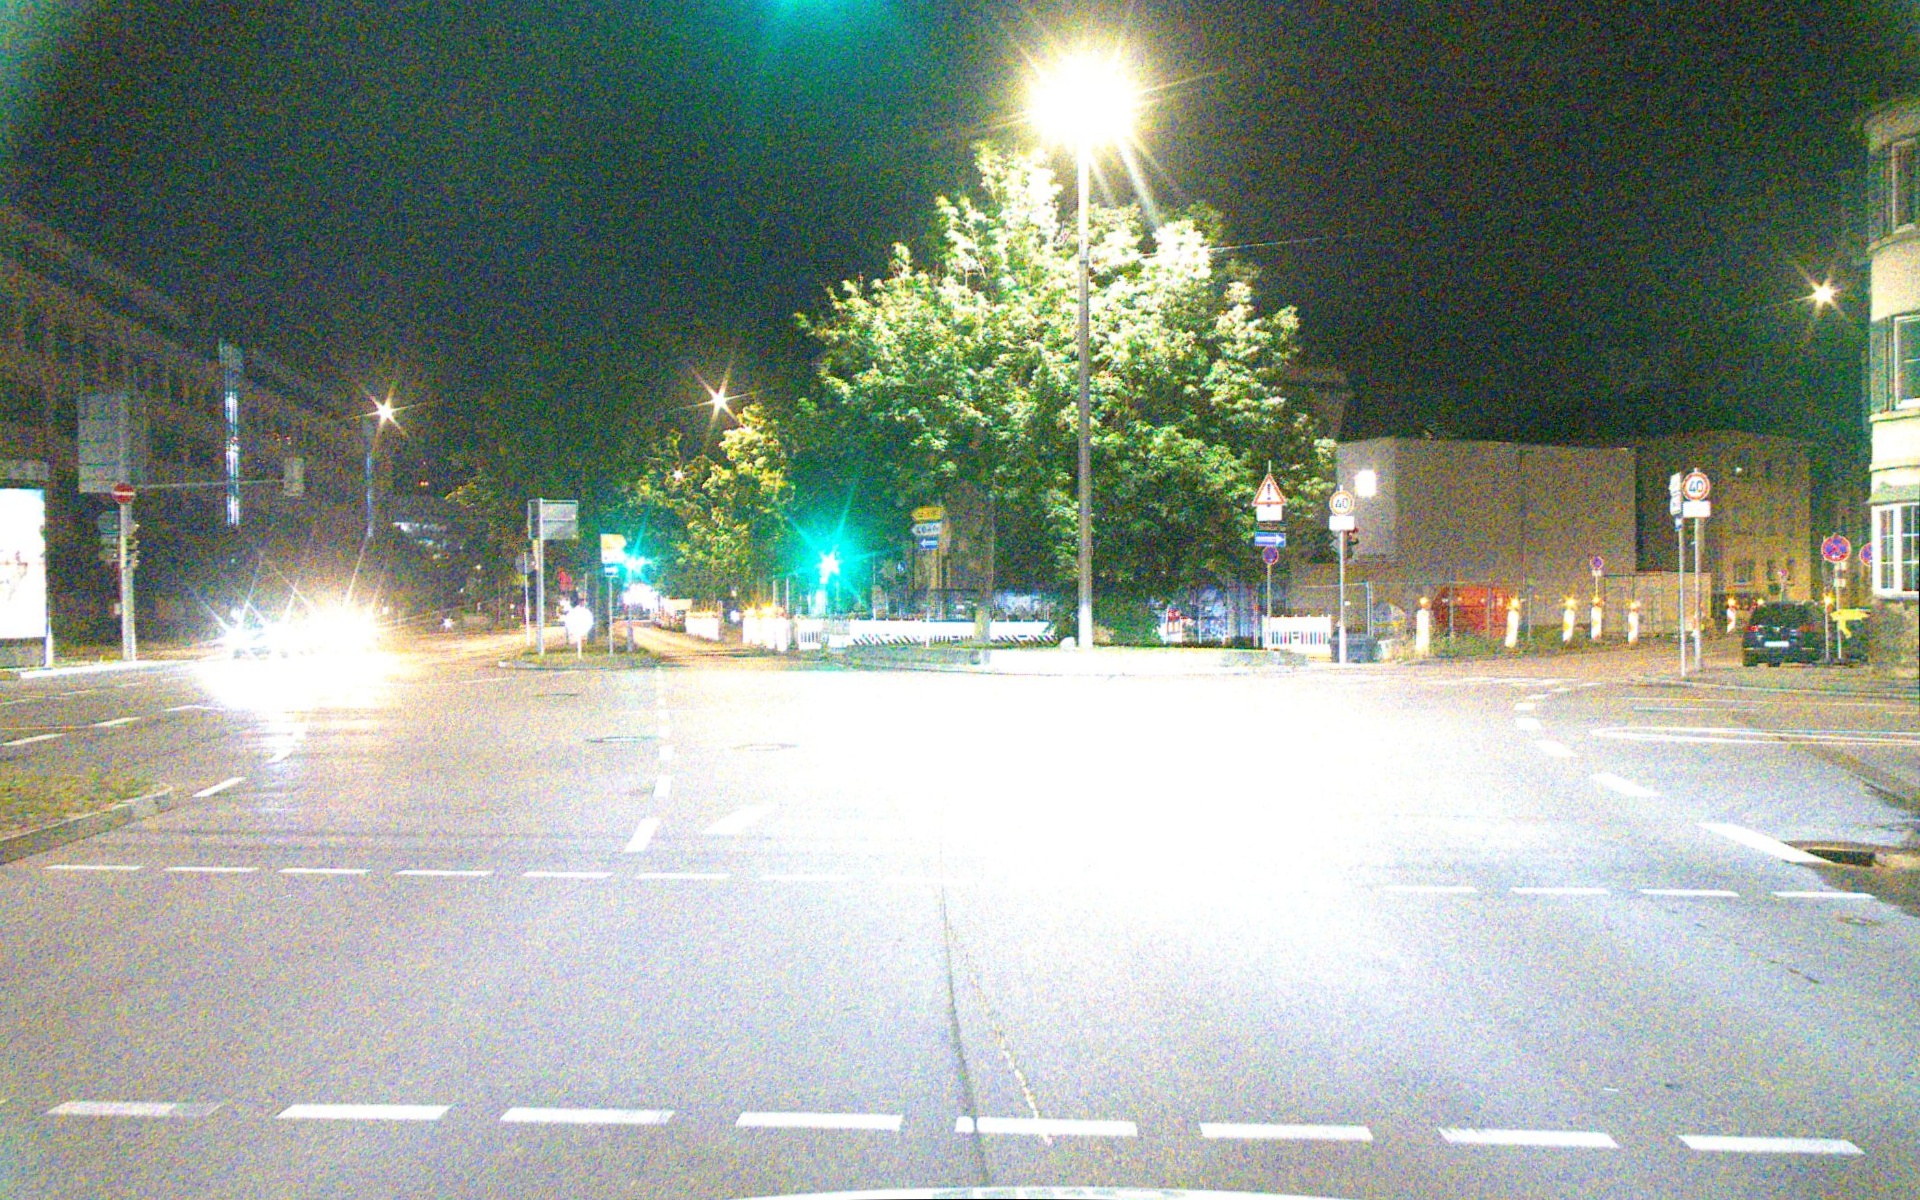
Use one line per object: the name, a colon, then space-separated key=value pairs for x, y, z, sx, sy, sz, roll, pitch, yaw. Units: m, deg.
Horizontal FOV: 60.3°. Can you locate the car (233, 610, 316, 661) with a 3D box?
car: x=-21.992 y=1.133 z=53.185 sx=1.586 sy=1.541 sz=3.991 roll=0 pitch=-1 yaw=-10

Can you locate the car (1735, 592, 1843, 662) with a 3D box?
car: x=20.441 y=0.657 z=40.742 sx=1.700 sy=1.640 sz=3.607 roll=-1 pitch=-1 yaw=38

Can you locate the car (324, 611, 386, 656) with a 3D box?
car: x=-24.041 y=1.320 z=65.808 sx=1.726 sy=1.758 sz=3.539 roll=0 pitch=-1 yaw=-10

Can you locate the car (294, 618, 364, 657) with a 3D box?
car: x=-23.069 y=1.359 z=60.547 sx=1.726 sy=1.345 sz=3.539 roll=0 pitch=-1 yaw=-10
